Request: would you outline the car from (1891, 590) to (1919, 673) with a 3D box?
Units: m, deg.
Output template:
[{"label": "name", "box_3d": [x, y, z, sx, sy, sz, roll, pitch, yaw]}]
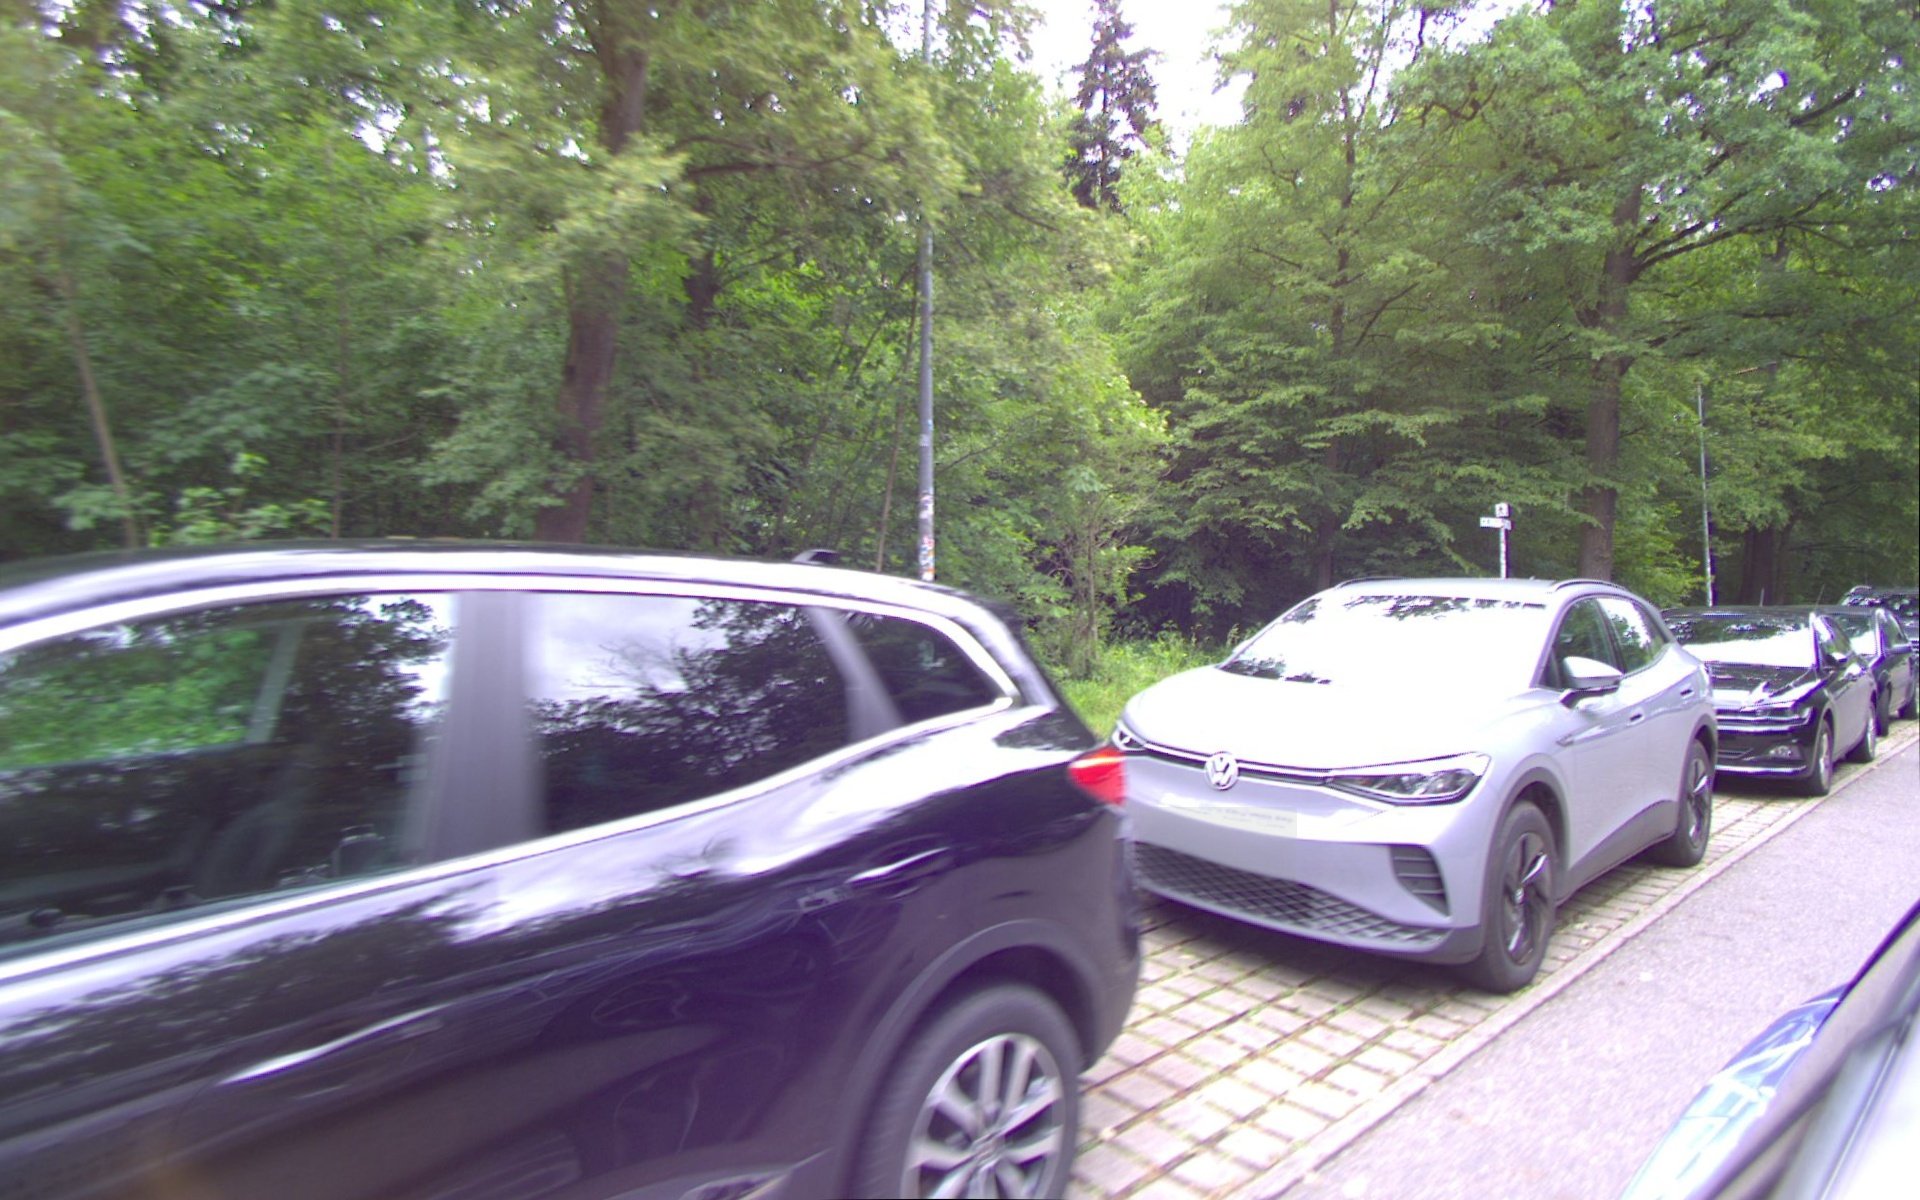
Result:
[{"label": "car", "box_3d": [19.789, 0.590, 19.916, 3.892, 1.557, 1.704, 0, 0, -40]}]

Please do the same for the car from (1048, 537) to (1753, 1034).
[{"label": "car", "box_3d": [2.659, 0.589, 5.484, 4.405, 1.607, 1.904, 0, 0, -43]}]

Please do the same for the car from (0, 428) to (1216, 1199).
[{"label": "car", "box_3d": [-1.550, 0.617, 1.711, 4.350, 1.580, 1.840, 0, 0, -44]}]

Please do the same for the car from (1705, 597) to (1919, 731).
[{"label": "car", "box_3d": [11.180, 0.684, 12.962, 4.115, 1.444, 1.749, 0, 0, -40]}]

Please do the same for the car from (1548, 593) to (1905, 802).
[{"label": "car", "box_3d": [7.033, 0.676, 9.143, 3.930, 1.460, 1.823, 0, 1, -41]}]

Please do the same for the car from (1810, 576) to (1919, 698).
[{"label": "car", "box_3d": [15.161, 0.515, 16.013, 4.406, 1.745, 1.908, 0, 0, -40]}]
